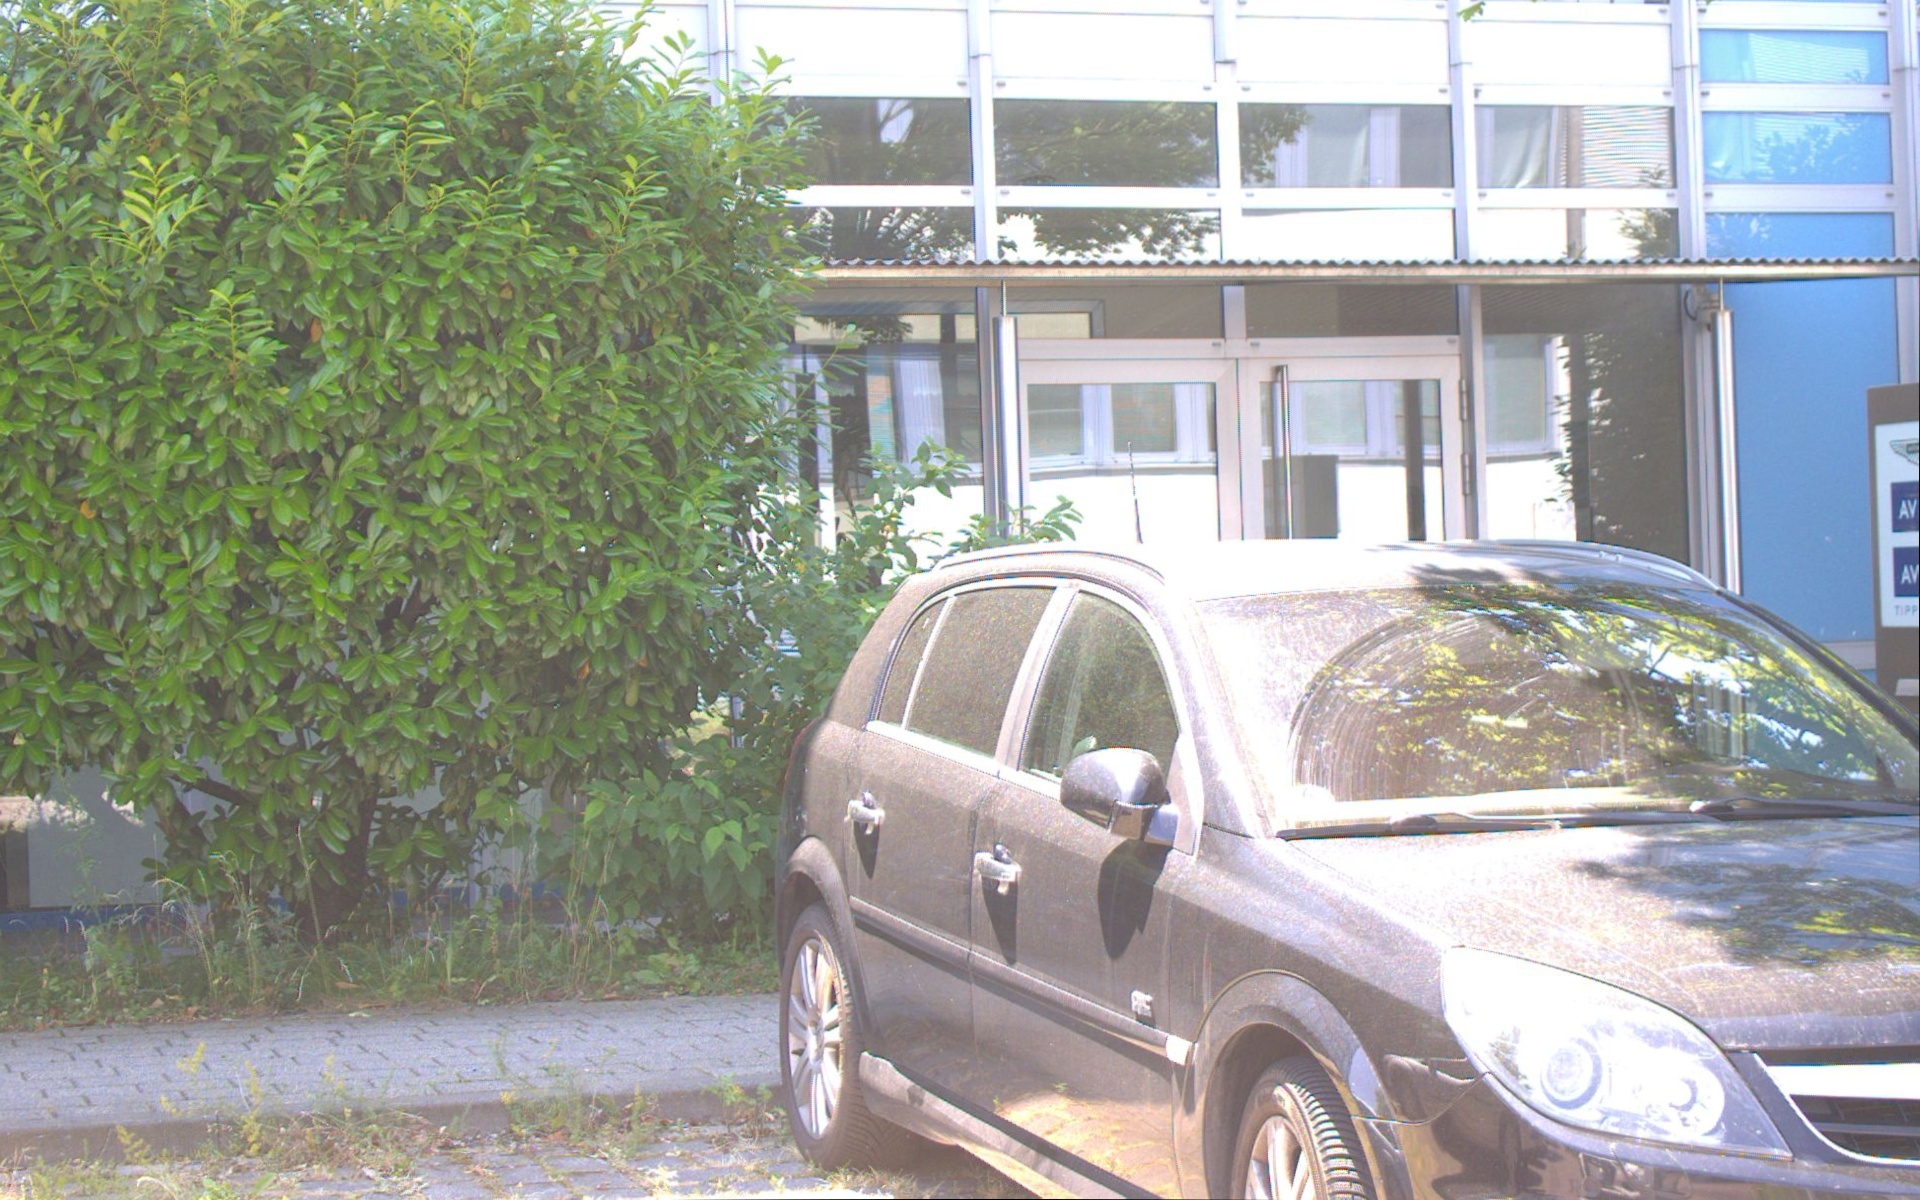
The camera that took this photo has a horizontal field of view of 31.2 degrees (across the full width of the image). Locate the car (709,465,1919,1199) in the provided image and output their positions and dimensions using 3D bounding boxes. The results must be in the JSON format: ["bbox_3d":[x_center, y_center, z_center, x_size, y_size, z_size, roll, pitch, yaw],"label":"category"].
[{"bbox_3d":[0.870,0.576,6.893,1.757,1.544,4.567,-1,0,-17],"label":"car"}]
